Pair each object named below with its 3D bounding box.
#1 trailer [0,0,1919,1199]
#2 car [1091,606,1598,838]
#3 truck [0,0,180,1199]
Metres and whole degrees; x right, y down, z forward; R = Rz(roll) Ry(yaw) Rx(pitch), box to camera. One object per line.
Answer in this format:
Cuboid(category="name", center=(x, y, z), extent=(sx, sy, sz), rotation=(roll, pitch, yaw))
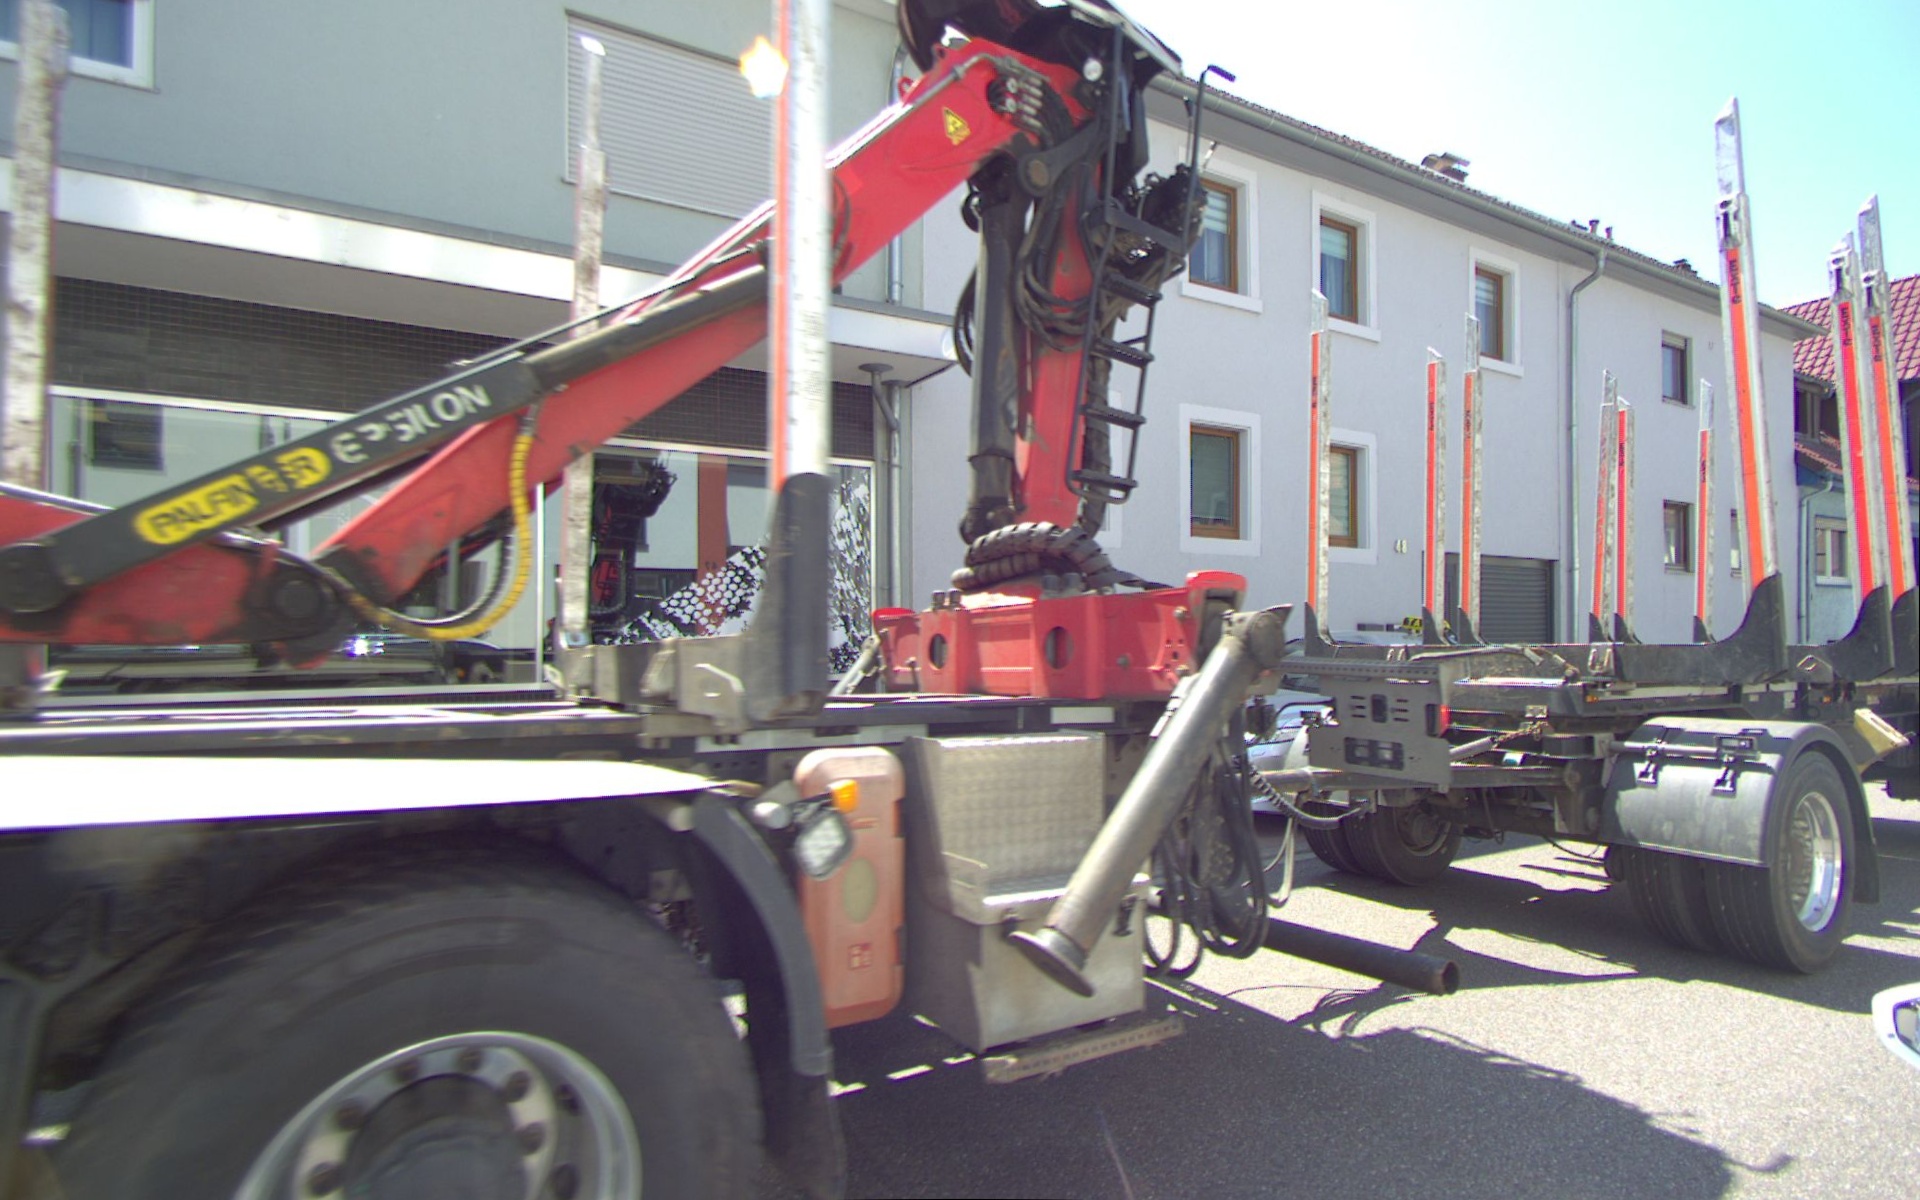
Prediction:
Cuboid(category="trailer", center=(1.189, -0.440, 4.217), extent=(15.524, 4.031, 2.617), rotation=(1, -3, -32))
Cuboid(category="car", center=(3.523, 0.903, 8.958), extent=(4.512, 1.578, 1.799), rotation=(1, 1, -31))
Cuboid(category="truck", center=(-4.822, -0.602, 0.410), extent=(6.776, 4.037, 2.605), rotation=(1, -3, -32))
